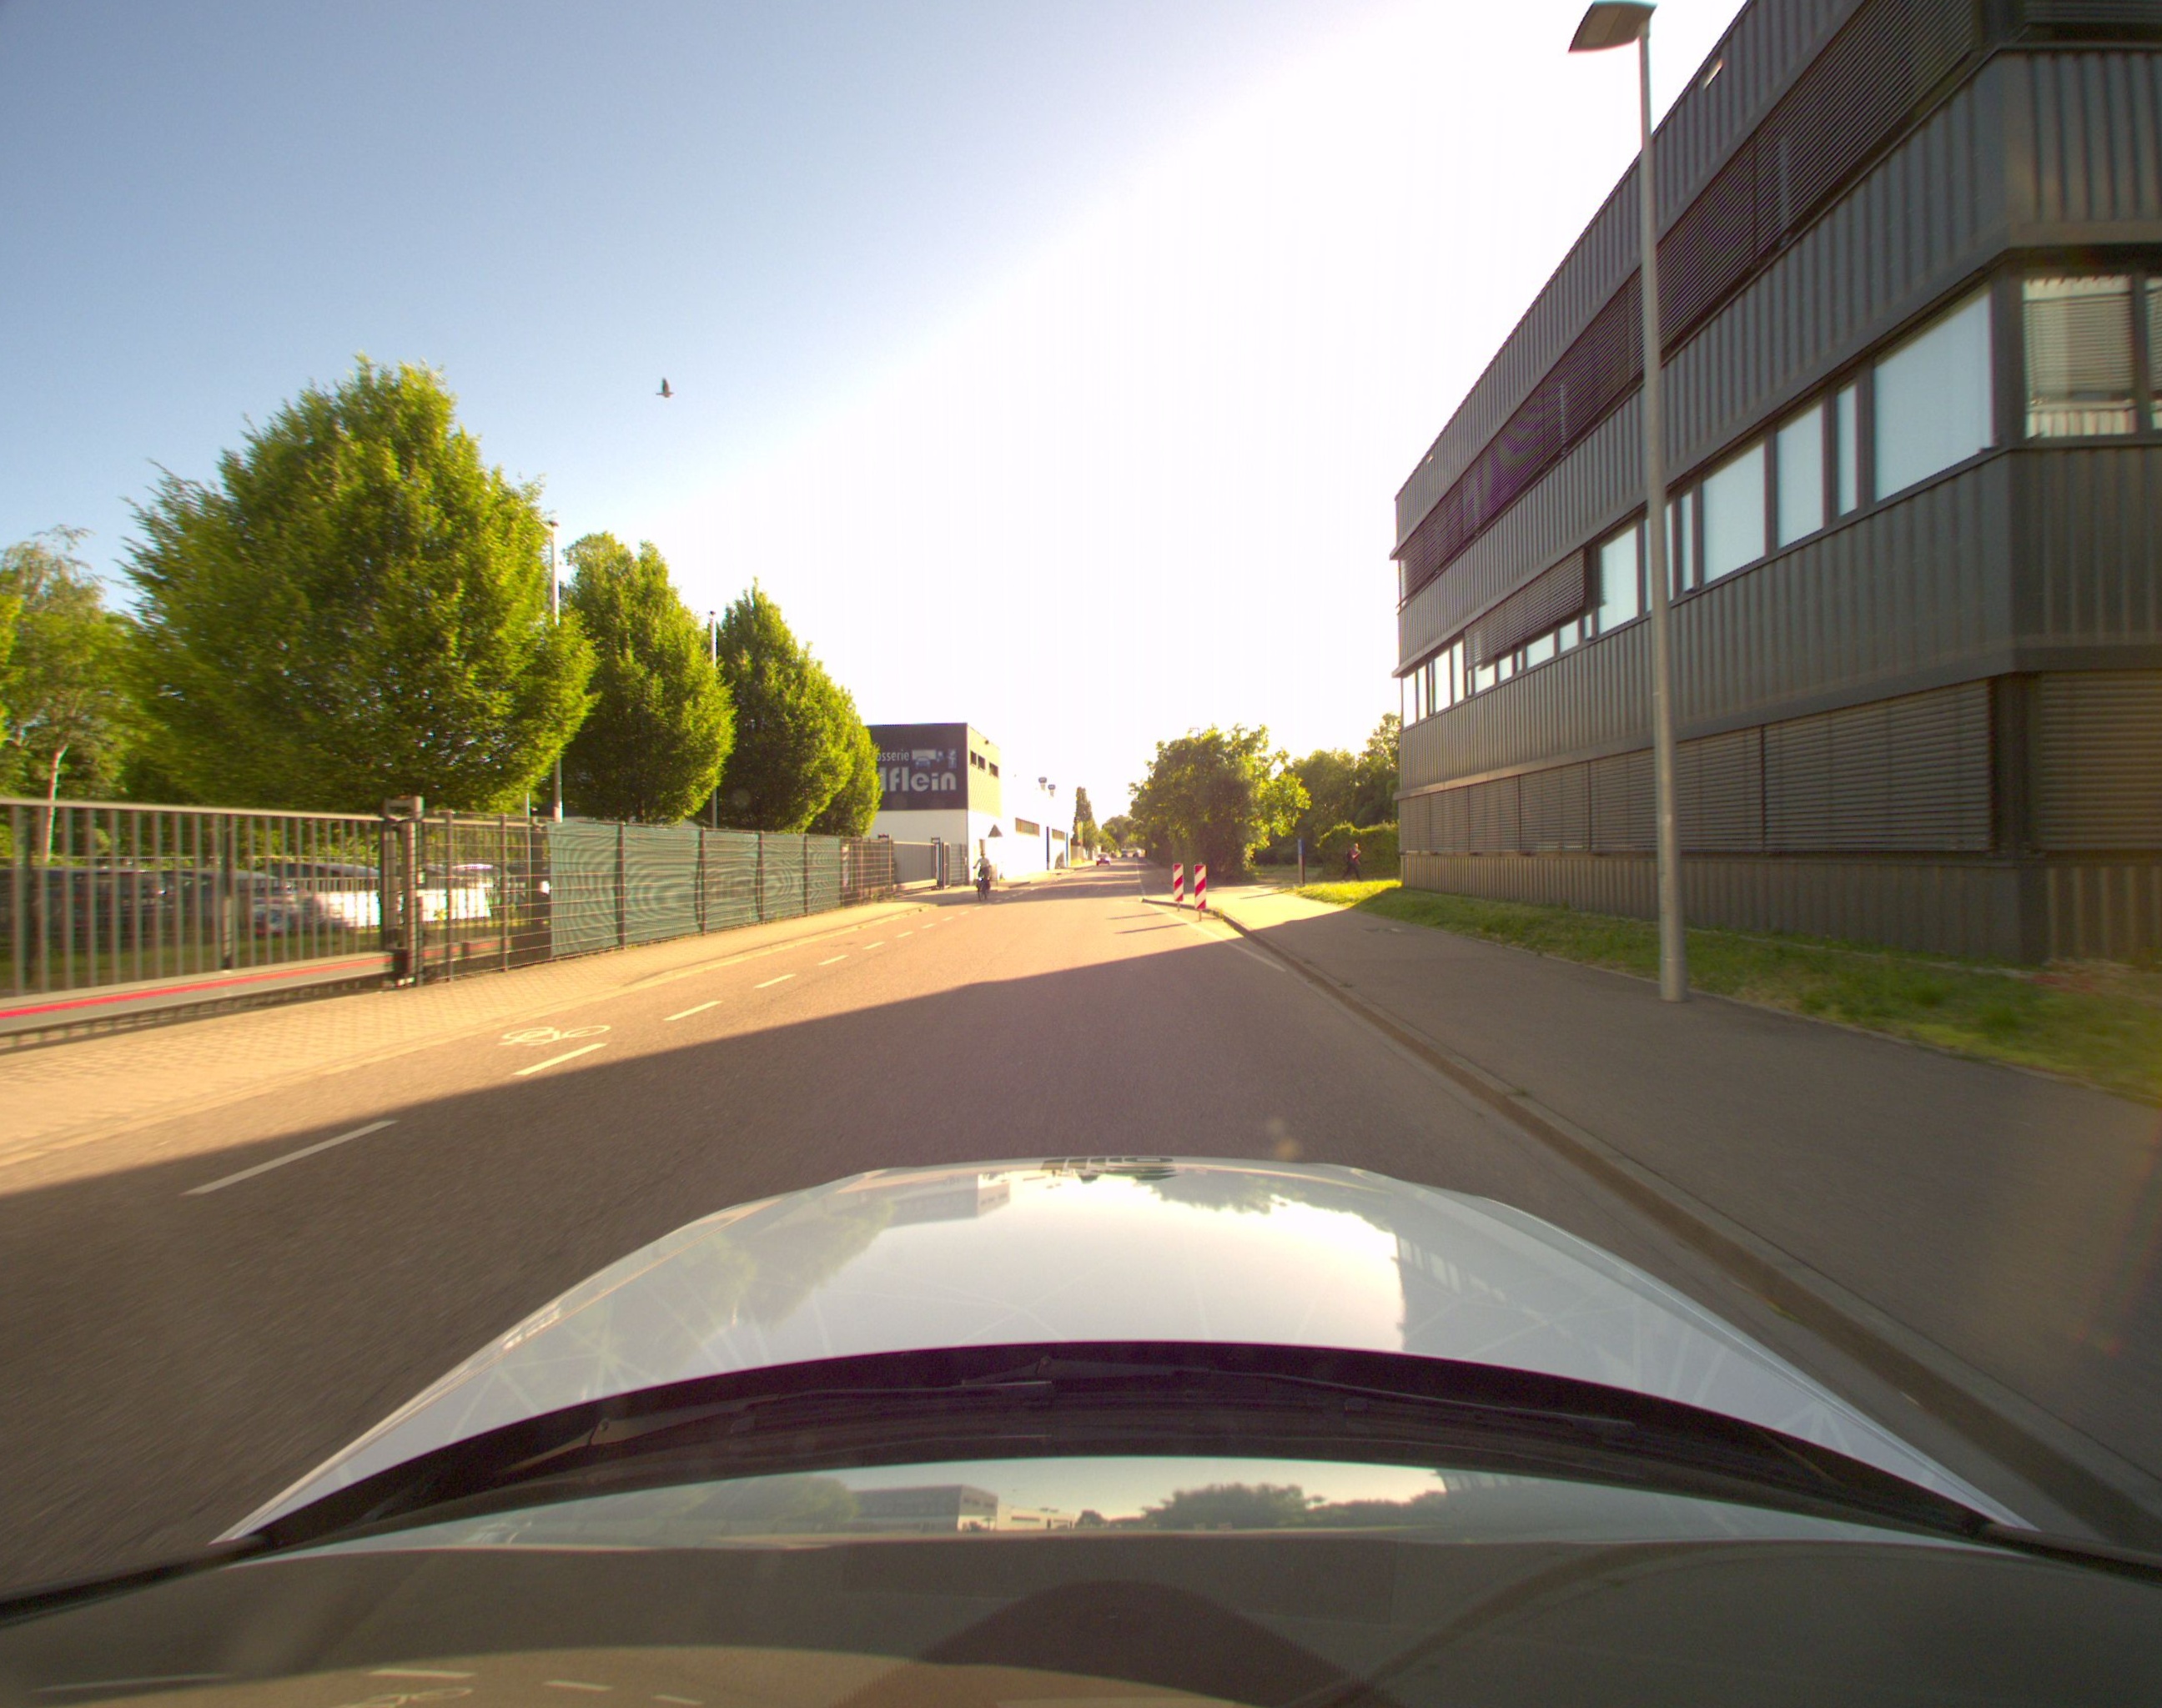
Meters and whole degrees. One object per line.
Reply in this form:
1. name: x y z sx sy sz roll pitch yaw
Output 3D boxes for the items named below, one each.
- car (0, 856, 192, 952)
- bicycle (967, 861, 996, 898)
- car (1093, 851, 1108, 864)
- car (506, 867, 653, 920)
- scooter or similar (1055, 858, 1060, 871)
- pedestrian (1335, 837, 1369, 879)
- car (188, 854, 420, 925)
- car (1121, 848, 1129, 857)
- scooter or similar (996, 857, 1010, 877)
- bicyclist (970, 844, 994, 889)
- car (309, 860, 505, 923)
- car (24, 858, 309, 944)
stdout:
1. car: -18.883 0.892 14.576 3.969 1.540 1.877 -2 0 4
2. bicycle: -3.672 0.916 30.207 0.664 1.288 2.174 -1 0 2
3. car: 2.562 0.402 104.774 1.811 1.489 4.002 -5 0 2
4. car: -15.773 1.194 25.902 1.984 1.451 4.005 -1 0 4
5. scooter or similar: -2.404 1.072 83.379 0.414 1.267 1.060 -1 0 4
6. pedestrian: 12.362 0.182 37.171 1.148 1.792 0.896 -4 0 -1
7. car: -19.018 0.837 20.042 3.969 1.540 1.877 -2 0 4
8. car: 13.866 -0.450 256.922 2.114 2.780 5.932 -3 0 4
9. scooter or similar: -4.714 0.788 49.406 0.504 1.203 1.755 2 0 4
10. bicyclist: -3.672 0.453 30.212 0.743 1.628 0.834 -1 0 2
11. car: -18.839 1.028 22.868 3.969 1.540 1.877 -2 0 4
12. car: -19.008 0.938 17.050 3.969 1.540 1.877 -2 0 4
